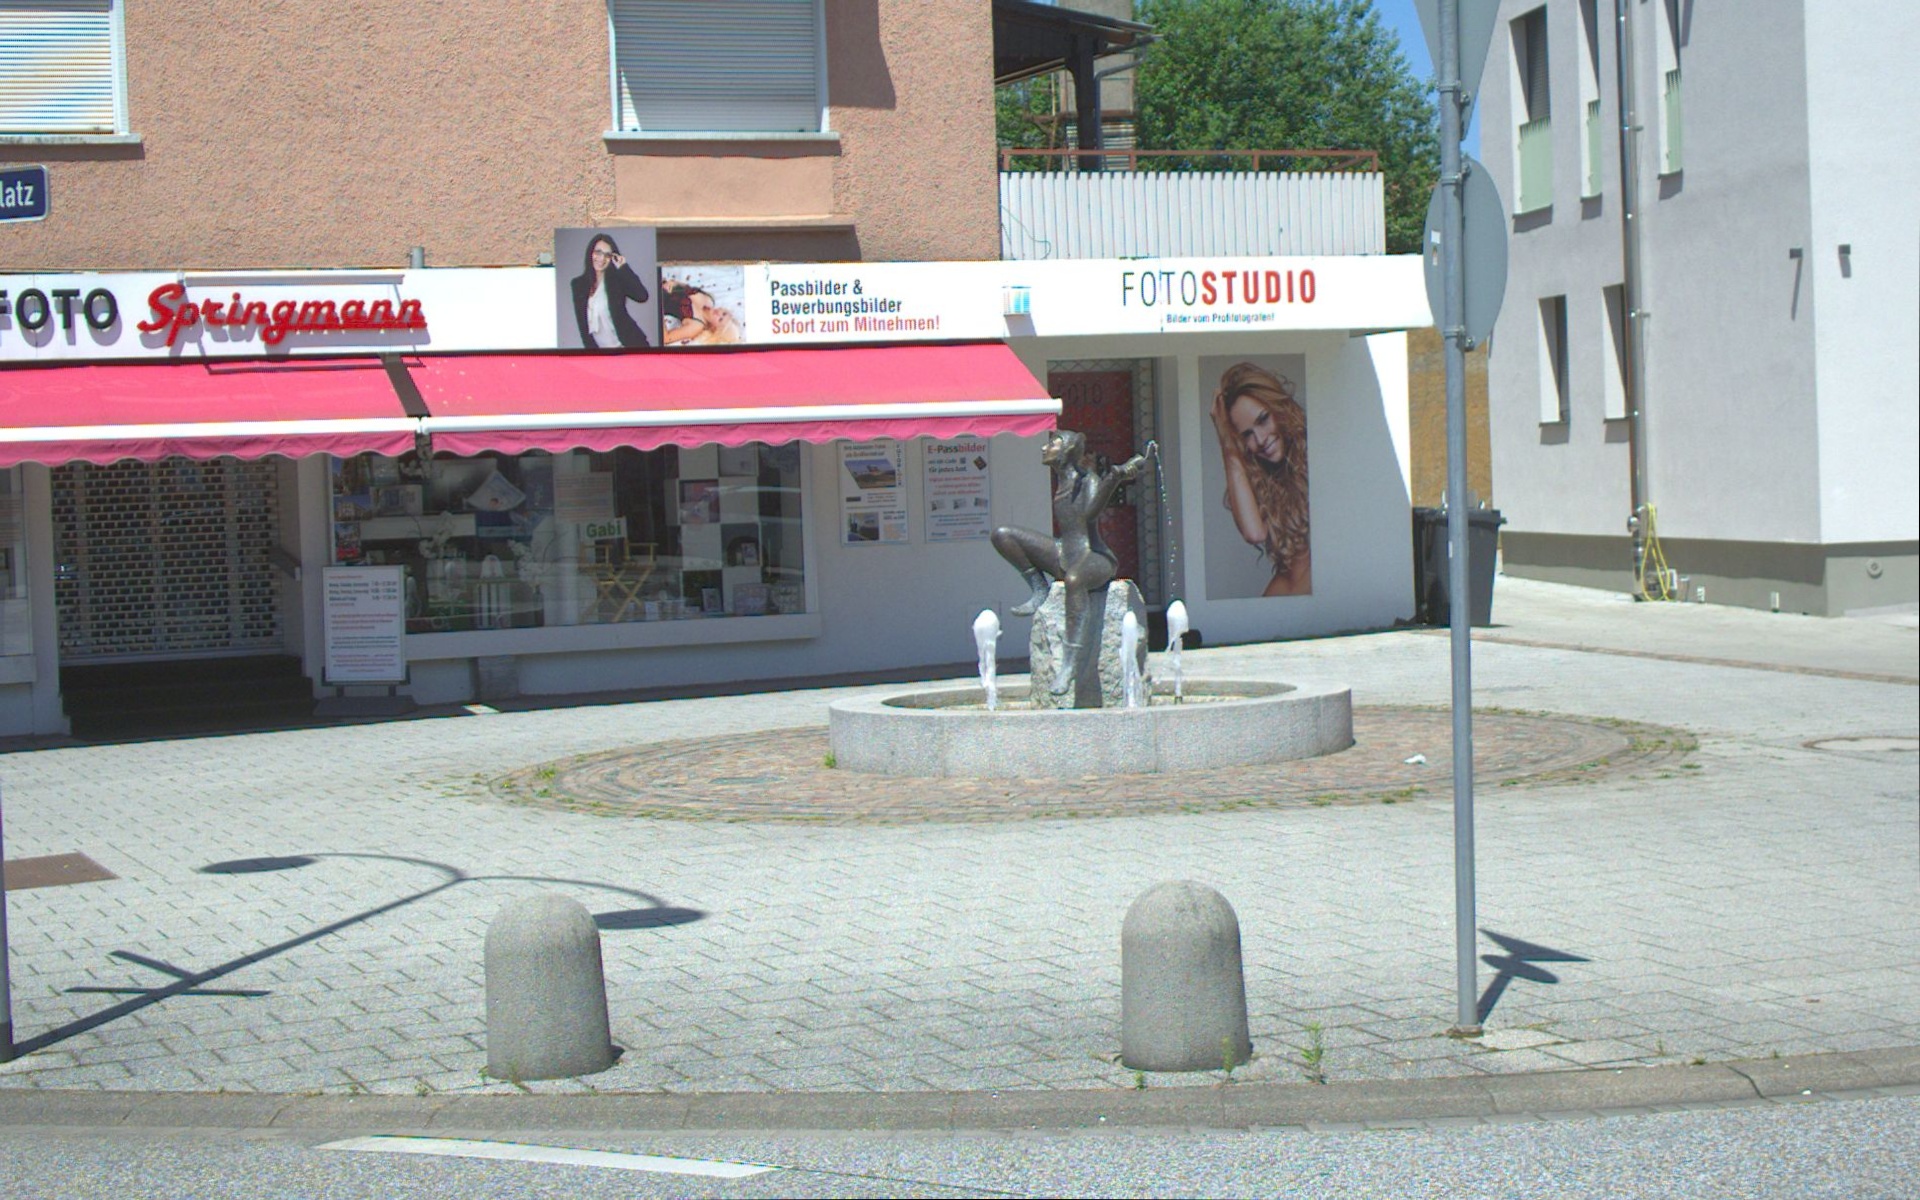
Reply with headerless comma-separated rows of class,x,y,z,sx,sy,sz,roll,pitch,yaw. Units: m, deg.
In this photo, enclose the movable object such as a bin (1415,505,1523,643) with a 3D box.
movable object such as a bin,4.537,-0.241,30.666,0.758,1.151,0.774,-3,4,-5
